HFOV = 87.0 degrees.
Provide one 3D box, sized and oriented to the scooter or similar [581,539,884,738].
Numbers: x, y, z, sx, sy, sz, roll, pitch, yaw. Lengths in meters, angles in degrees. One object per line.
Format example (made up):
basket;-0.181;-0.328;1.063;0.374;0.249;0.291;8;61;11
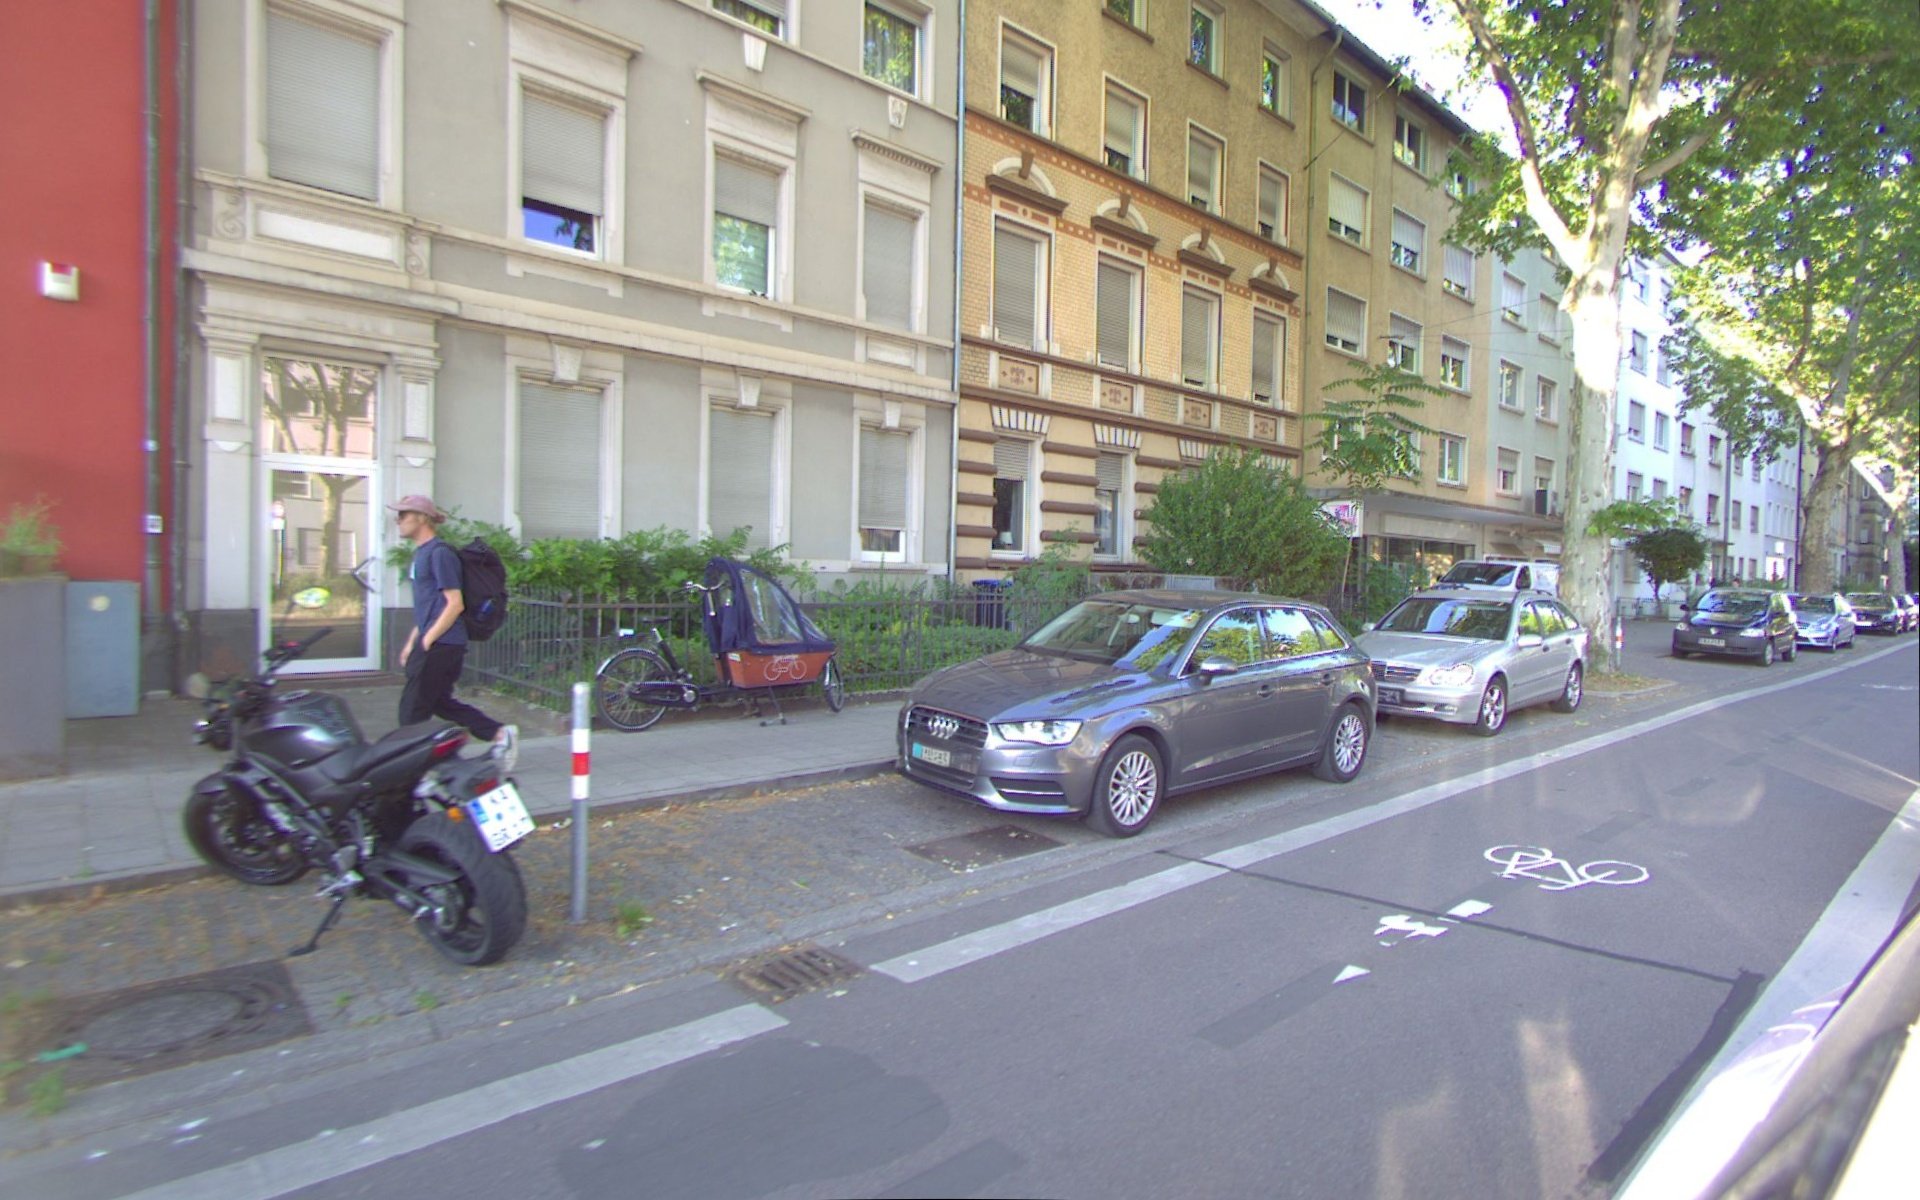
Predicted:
scooter or similar;-1.855;0.260;8.627;2.500;1.488;0.666;-1;2;-41

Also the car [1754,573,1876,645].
car;22.323;0.184;26.366;4.295;1.628;1.802;-1;5;-42

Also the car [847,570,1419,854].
car;1.470;0.554;7.464;4.294;1.418;1.802;-1;5;-41

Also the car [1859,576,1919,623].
car;35.838;-0.051;38.562;4.295;1.628;1.802;-1;5;-42

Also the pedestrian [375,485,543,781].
pedestrian;-3.195;0.162;6.447;0.802;1.731;0.728;-1;5;-41

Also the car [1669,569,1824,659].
car;16.694;0.227;21.404;4.295;1.628;1.802;-1;5;-42

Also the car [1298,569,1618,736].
car;5.862;0.446;11.650;4.437;1.472;1.801;-1;5;-43

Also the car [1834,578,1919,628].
car;31.988;0.062;35.212;4.295;1.520;1.802;-1;5;-42

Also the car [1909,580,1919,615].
car;47.176;-0.109;48.716;4.035;1.628;1.802;-1;5;-42

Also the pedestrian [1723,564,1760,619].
pedestrian;23.486;-0.264;30.407;0.690;1.599;0.728;-1;2;-41

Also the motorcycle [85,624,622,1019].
motorcycle;-2.473;0.750;4.068;2.188;1.124;0.659;4;2;22

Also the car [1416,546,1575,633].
car;13.302;-0.298;25.007;4.598;1.897;1.932;-1;5;-42
